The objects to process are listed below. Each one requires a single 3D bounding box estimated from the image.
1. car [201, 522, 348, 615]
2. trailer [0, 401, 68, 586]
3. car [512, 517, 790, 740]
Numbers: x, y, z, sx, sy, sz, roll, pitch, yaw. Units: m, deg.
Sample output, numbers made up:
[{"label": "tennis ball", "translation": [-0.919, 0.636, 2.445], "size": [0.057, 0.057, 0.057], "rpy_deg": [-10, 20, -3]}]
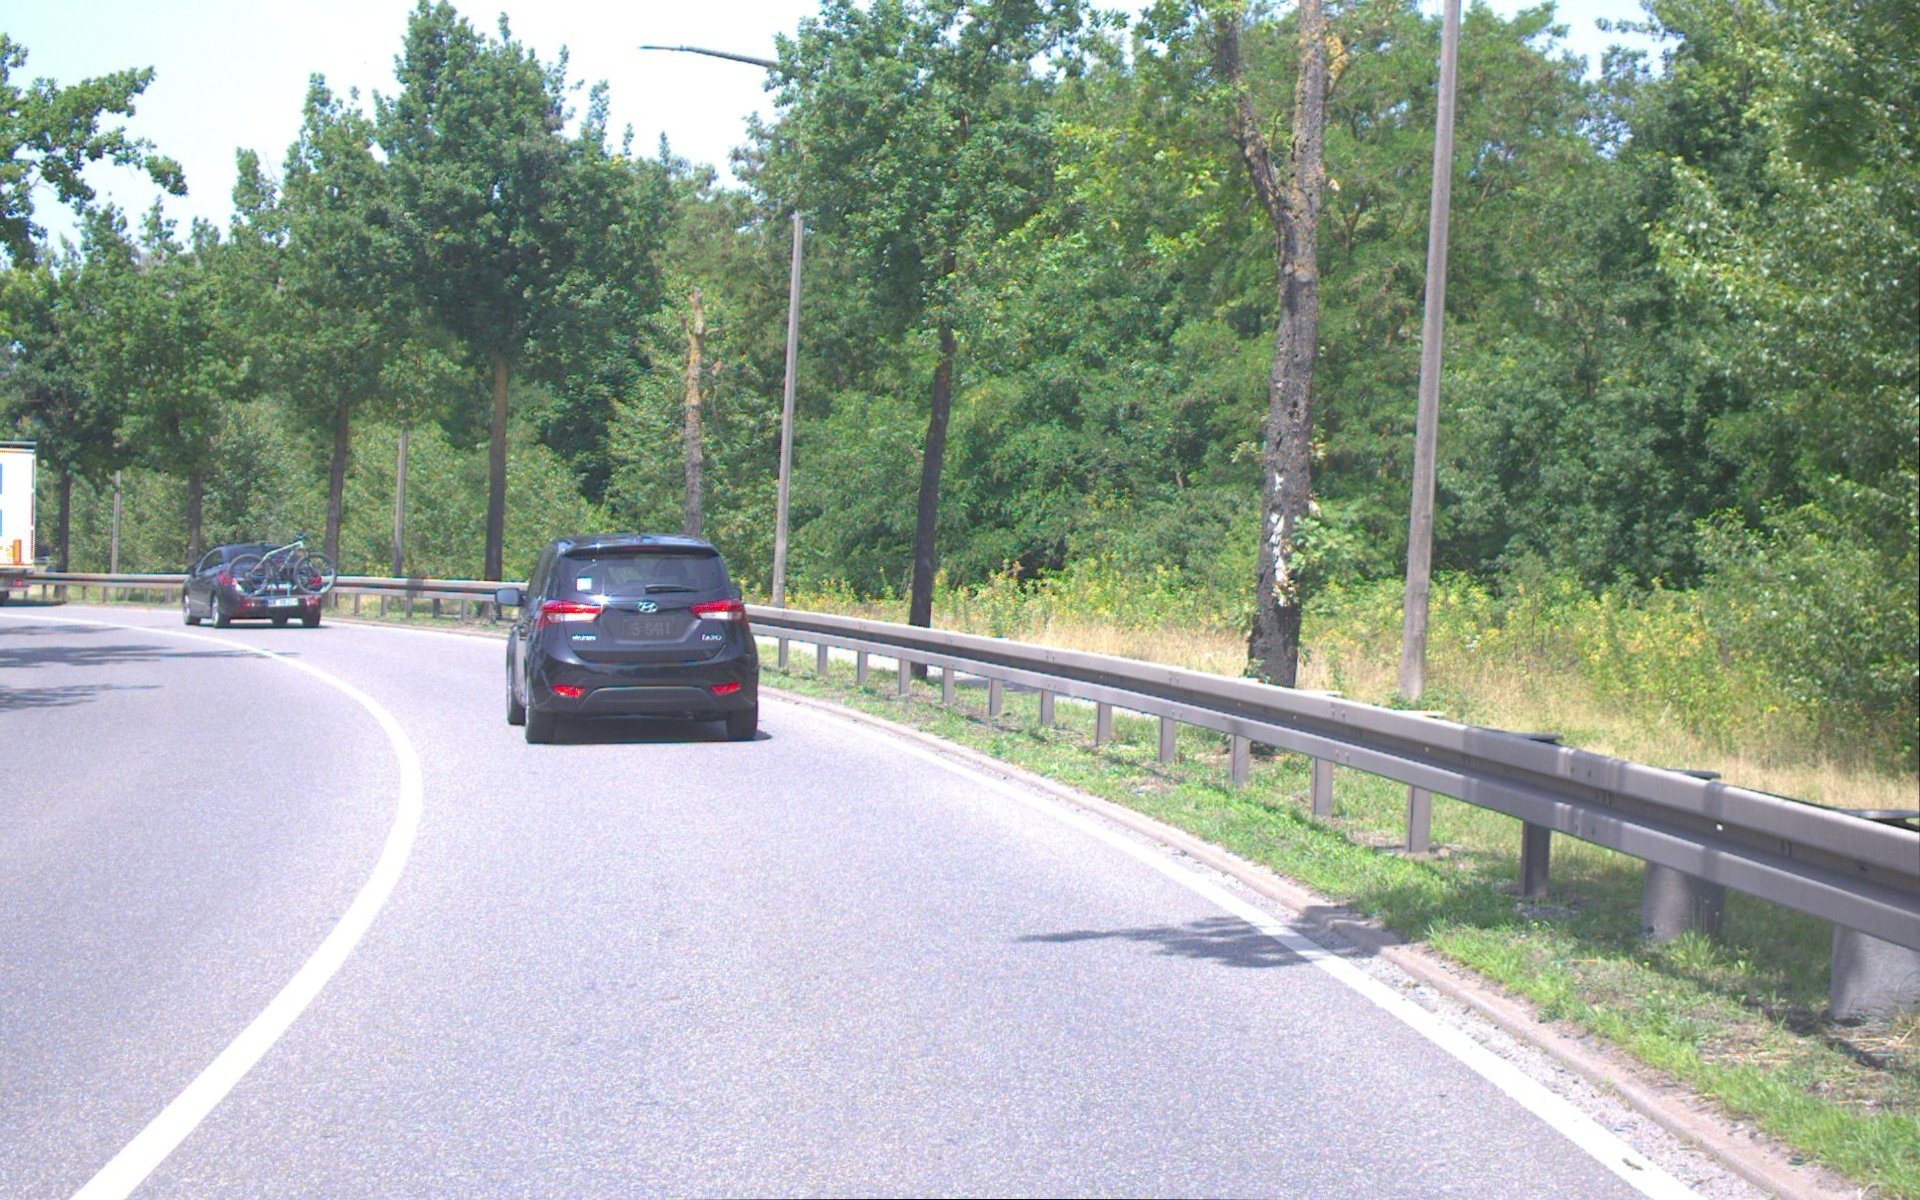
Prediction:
[{"label": "car", "translation": [-11.609, -0.556, 58.069], "size": [2.011, 1.424, 3.778], "rpy_deg": [0, 3, -18]}, {"label": "trailer", "translation": [-25.334, -2.777, 86.628], "size": [3.569, 4.368, 11.444], "rpy_deg": [0, 3, -25]}, {"label": "car", "translation": [-2.544, 0.172, 27.476], "size": [1.921, 1.568, 3.893], "rpy_deg": [0, 3, -9]}]
